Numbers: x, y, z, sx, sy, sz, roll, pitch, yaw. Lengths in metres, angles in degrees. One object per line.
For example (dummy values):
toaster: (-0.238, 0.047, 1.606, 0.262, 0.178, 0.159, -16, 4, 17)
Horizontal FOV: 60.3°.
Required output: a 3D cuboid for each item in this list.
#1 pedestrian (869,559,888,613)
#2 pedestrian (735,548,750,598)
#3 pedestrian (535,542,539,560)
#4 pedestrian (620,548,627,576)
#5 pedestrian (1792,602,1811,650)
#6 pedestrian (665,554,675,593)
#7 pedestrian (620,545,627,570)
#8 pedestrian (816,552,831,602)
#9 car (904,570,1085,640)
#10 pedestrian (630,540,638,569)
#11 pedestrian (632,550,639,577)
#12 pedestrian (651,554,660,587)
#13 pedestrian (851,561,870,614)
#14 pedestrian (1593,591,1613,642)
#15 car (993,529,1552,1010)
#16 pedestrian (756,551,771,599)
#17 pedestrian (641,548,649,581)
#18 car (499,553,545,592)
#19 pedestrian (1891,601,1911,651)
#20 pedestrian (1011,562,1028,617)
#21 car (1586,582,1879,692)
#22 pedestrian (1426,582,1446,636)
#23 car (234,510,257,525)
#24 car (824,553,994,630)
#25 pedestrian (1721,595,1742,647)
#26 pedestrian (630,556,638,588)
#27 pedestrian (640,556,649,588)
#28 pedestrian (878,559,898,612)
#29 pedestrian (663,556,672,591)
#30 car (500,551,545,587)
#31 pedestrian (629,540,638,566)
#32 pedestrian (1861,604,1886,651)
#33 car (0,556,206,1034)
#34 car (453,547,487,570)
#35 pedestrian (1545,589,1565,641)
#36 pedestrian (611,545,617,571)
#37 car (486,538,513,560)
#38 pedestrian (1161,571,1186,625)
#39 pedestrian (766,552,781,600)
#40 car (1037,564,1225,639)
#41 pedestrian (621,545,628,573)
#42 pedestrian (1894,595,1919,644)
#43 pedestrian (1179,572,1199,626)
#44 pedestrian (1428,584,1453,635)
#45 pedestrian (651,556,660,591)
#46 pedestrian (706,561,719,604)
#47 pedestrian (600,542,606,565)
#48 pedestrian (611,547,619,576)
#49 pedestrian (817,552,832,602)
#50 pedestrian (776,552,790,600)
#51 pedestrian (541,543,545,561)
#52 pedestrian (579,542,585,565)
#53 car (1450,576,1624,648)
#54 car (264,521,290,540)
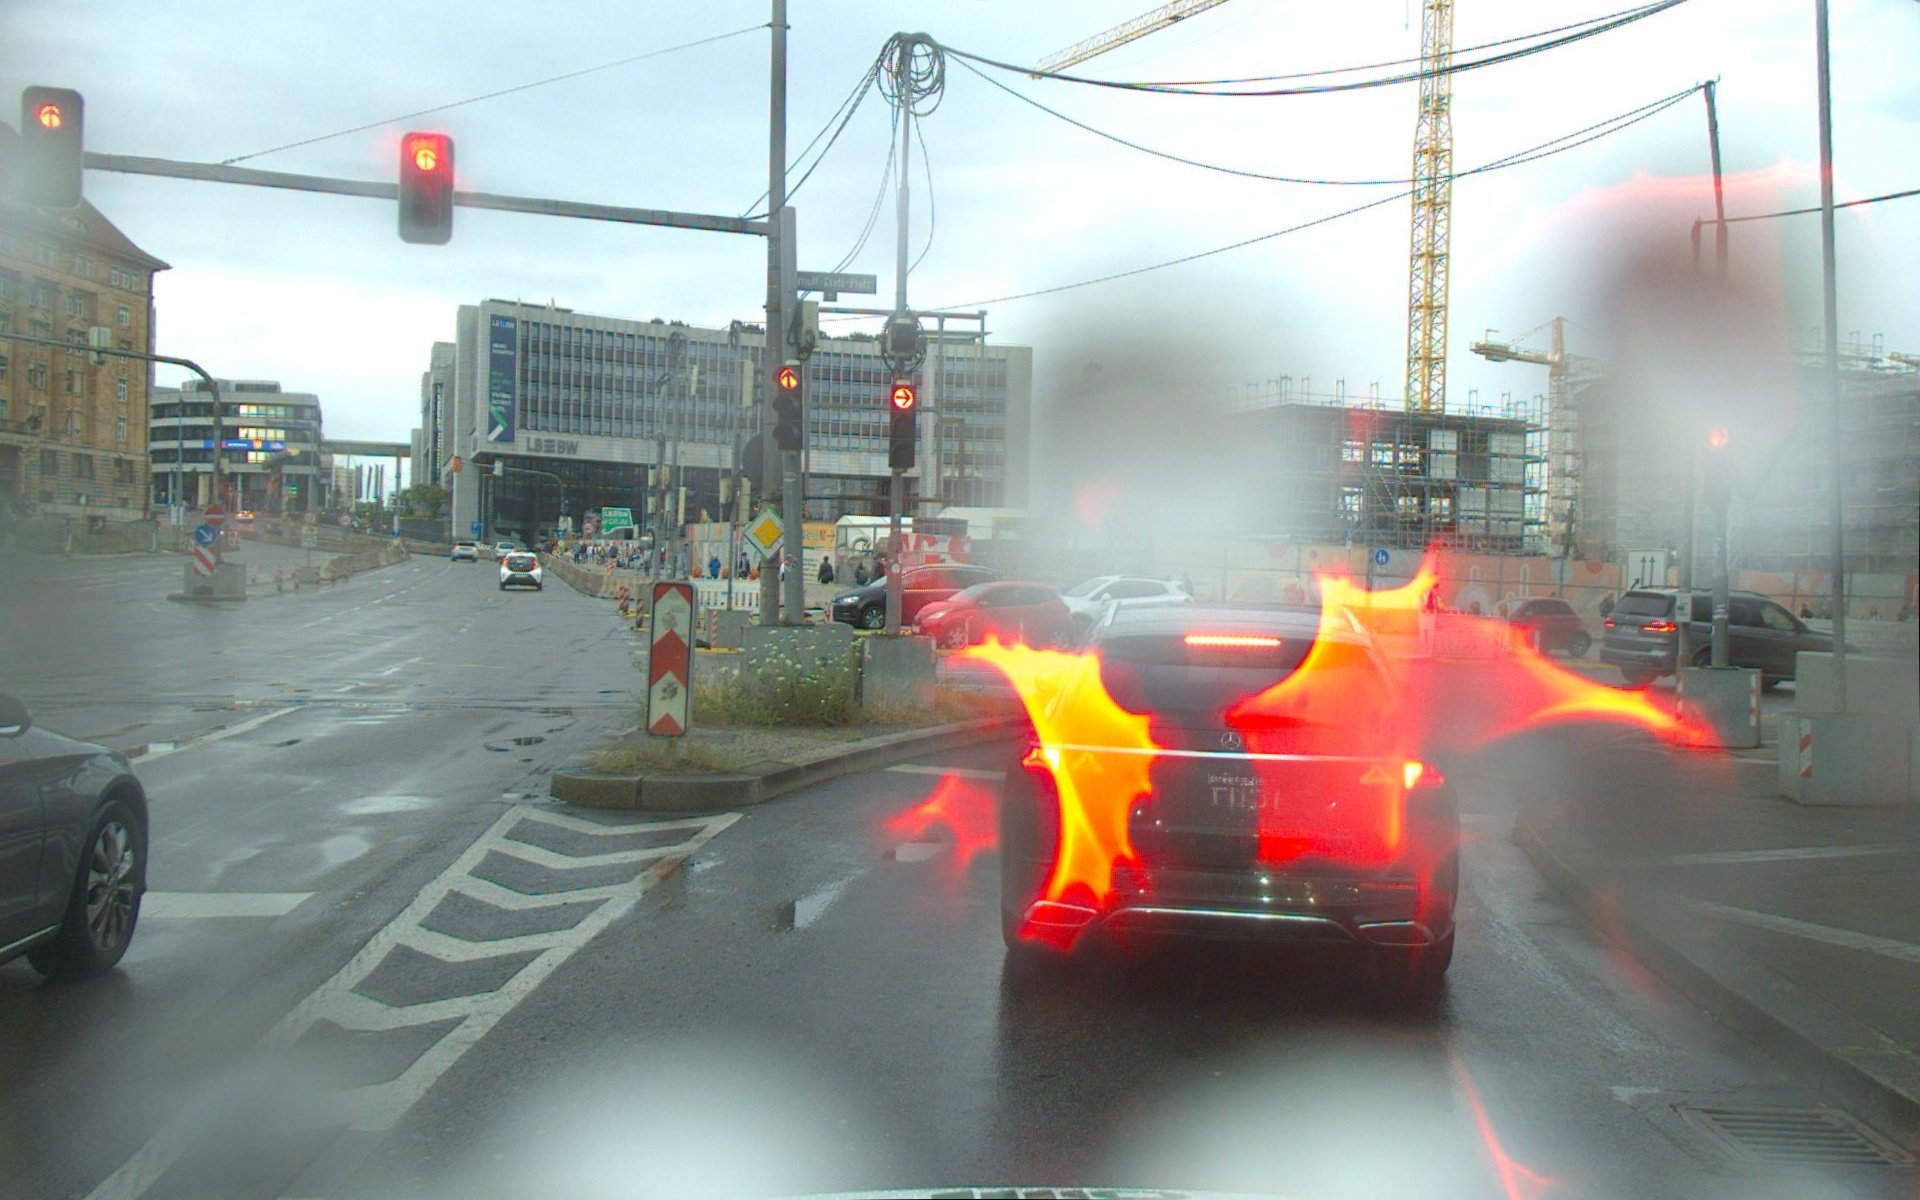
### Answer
pedestrian: (-2.935, -0.515, 59.618, 0.562, 1.931, 0.362, 2, -1, 15)
pedestrian: (-8.616, -1.068, 65.568, 0.357, 1.931, 0.571, 3, -1, -27)
pedestrian: (-46.132, -5.300, 180.396, 0.355, 1.931, 0.574, 2, -1, -15)
pedestrian: (-23.004, -2.588, 113.096, 0.355, 1.931, 0.574, 2, -1, -14)
pedestrian: (34.177, 1.059, 67.154, 0.565, 1.931, 0.360, 2, -1, -17)
pedestrian: (-14.747, -1.341, 84.217, 0.355, 1.931, 0.573, 2, -1, -18)
pedestrian: (-25.915, -3.256, 127.379, 0.355, 1.931, 0.573, 2, -1, -18)
pedestrian: (-5.380, -0.913, 65.207, 0.356, 1.931, 0.572, 2, -1, -22)
car: (0.726, 0.120, 35.116, 3.481, 1.327, 1.656, 2, -1, -20)
pedestrian: (-22.249, -3.089, 112.932, 0.355, 1.931, 0.573, 2, -1, -18)
pedestrian: (-23.906, -2.662, 121.715, 0.355, 1.931, 0.573, 2, -1, -18)
pedestrian: (-18.049, -1.758, 97.998, 0.355, 1.931, 0.573, 2, -1, -18)
pedestrian: (-3.696, -0.472, 61.470, 0.562, 1.931, 0.362, 2, -1, 13)
pedestrian: (24.683, 0.649, 63.449, 0.564, 1.931, 0.361, 2, -1, -12)
car: (1.220, 0.601, 7.680, 1.851, 1.571, 3.995, 2, -1, 4)
pedestrian: (-7.909, -0.996, 66.529, 0.356, 1.931, 0.572, 2, -1, -26)
pedestrian: (-18.657, -2.096, 97.947, 0.355, 1.931, 0.573, 2, -1, -18)
car: (-18.359, -1.121, 69.319, 1.751, 1.499, 3.544, 2, -1, -16)
pedestrian: (36.669, 1.009, 64.451, 0.564, 1.931, 0.361, 2, -1, -12)
pedestrian: (2.133, -0.371, 59.278, 0.563, 1.931, 0.362, 2, -1, 1)
car: (14.522, 0.702, 31.106, 5.009, 1.829, 1.989, 2, -1, -19)
pedestrian: (17.464, 0.330, 60.681, 0.564, 1.931, 0.361, 2, -1, -12)
car: (-97.915, -11.330, 226.688, 1.980, 1.847, 3.945, 3, -1, -38)
car: (-1.318, -0.189, 42.221, 3.924, 1.764, 1.991, 2, -1, -17)
pedestrian: (28.824, 0.780, 61.759, 0.564, 1.931, 0.361, 2, -1, -12)
pedestrian: (-19.614, -1.683, 99.541, 0.355, 1.931, 0.573, 2, -1, -18)
pedestrian: (-19.031, -1.686, 99.806, 0.355, 1.931, 0.573, 2, -1, -18)
pedestrian: (-2.647, -0.548, 60.910, 0.565, 1.931, 0.361, 1, -1, 36)
pedestrian: (-15.991, -1.443, 90.323, 0.355, 1.931, 0.573, 2, -1, -18)
car: (-23.808, -1.684, 89.858, 1.964, 1.797, 4.394, 2, -1, -19)
pedestrian: (-25.220, -3.643, 127.849, 0.511, 1.931, 0.573, 2, -1, -18)
pedestrian: (37.702, 1.126, 68.283, 0.620, 1.931, 0.587, 2, -1, -16)
car: (-3.721, 0.595, 4.429, 1.749, 1.427, 4.480, 2, 1, -7)
car: (-39.324, -3.338, 132.730, 1.968, 1.668, 3.968, 2, -1, -25)
pedestrian: (22.498, 0.555, 62.586, 0.564, 1.931, 0.361, 2, -1, -12)
pedestrian: (-26.614, -3.230, 127.151, 0.355, 1.931, 0.573, 2, -1, -18)
car: (-38.892, -4.292, 139.701, 1.704, 1.668, 3.412, 2, 3, -23)
pedestrian: (7.818, -0.069, 60.596, 0.645, 1.934, 0.629, 2, -1, -15)
pedestrian: (-7.517, -0.961, 66.684, 0.356, 1.931, 0.572, 2, -1, -26)
car: (4.052, 0.041, 39.359, 3.981, 1.579, 1.988, 2, -1, -20)
pedestrian: (-23.516, -2.870, 116.041, 0.355, 1.931, 0.573, 2, -1, -18)
pedestrian: (37.913, 0.789, 66.145, 0.784, 1.931, 0.564, 2, -1, -16)
pedestrian: (8.289, -0.021, 59.901, 0.564, 1.931, 0.361, 2, -1, -12)
pedestrian: (18.415, 0.359, 63.378, 0.645, 1.934, 0.629, 2, -1, -15)
pedestrian: (-16.877, -1.469, 91.746, 0.355, 1.931, 0.573, 2, -1, -18)
pedestrian: (-11.073, -0.773, 73.974, 0.356, 1.931, 0.572, 2, -1, -22)
pedestrian: (-29.573, -3.863, 137.160, 0.355, 1.931, 0.573, 2, -1, -18)
pedestrian: (-23.411, -2.614, 112.198, 0.355, 1.931, 0.573, 2, -1, -18)
pedestrian: (-5.326, -0.912, 65.140, 0.356, 1.931, 0.572, 2, -1, -22)
pedestrian: (-7.138, -0.963, 66.832, 0.356, 1.931, 0.572, 2, -1, -22)
pedestrian: (-45.562, -5.275, 180.648, 0.355, 1.931, 0.574, 2, -1, -15)
pedestrian: (-31.792, -3.931, 139.024, 0.355, 1.931, 0.573, 2, -1, -18)
car: (15.261, 0.326, 43.784, 3.925, 1.738, 1.990, 2, -1, -19)
car: (-82.316, -8.329, 199.440, 1.978, 2.049, 3.949, 3, -1, -36)
